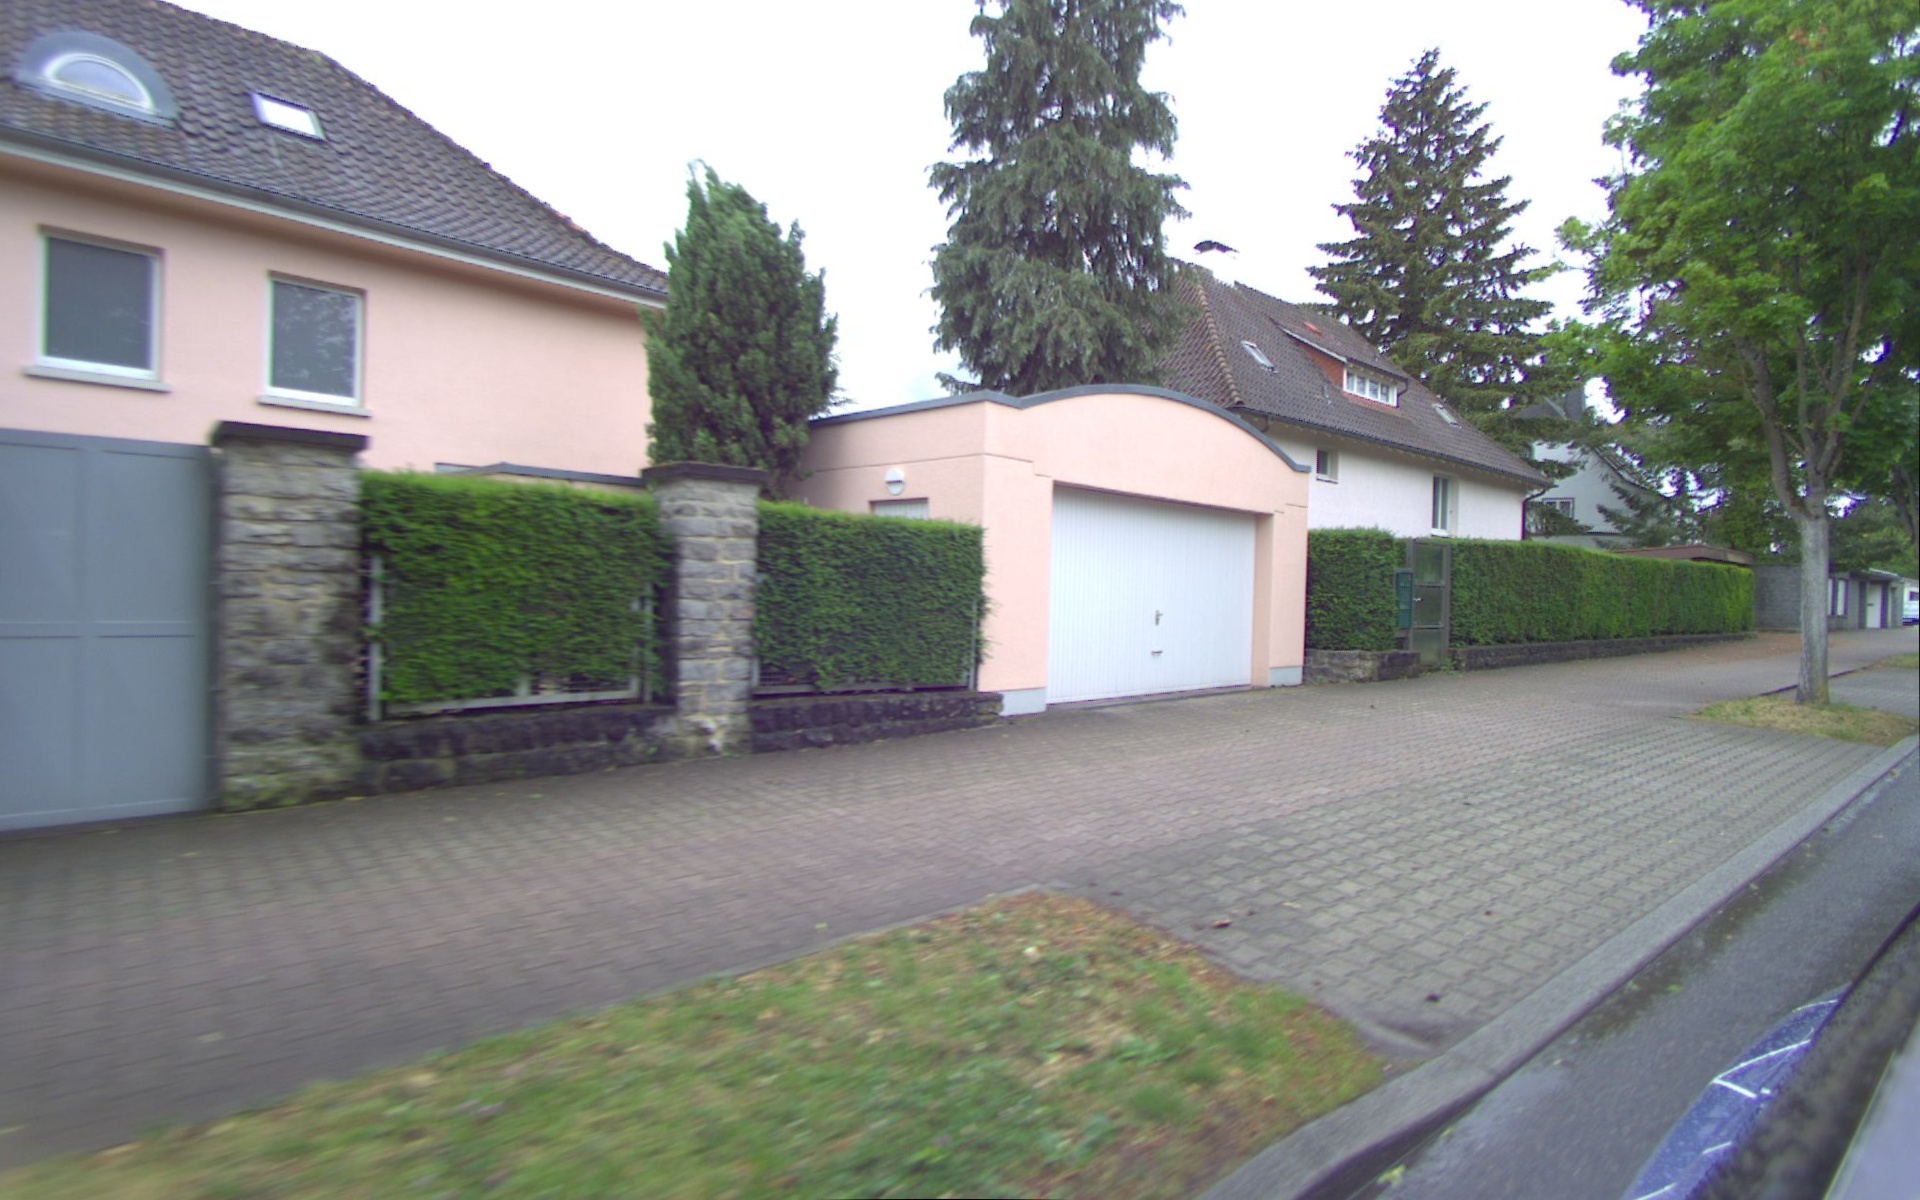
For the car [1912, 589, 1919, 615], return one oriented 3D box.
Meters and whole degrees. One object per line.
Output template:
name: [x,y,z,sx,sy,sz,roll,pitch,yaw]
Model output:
car: [56.050,0.099,58.072,3.929,1.440,1.665,0,-1,-40]
